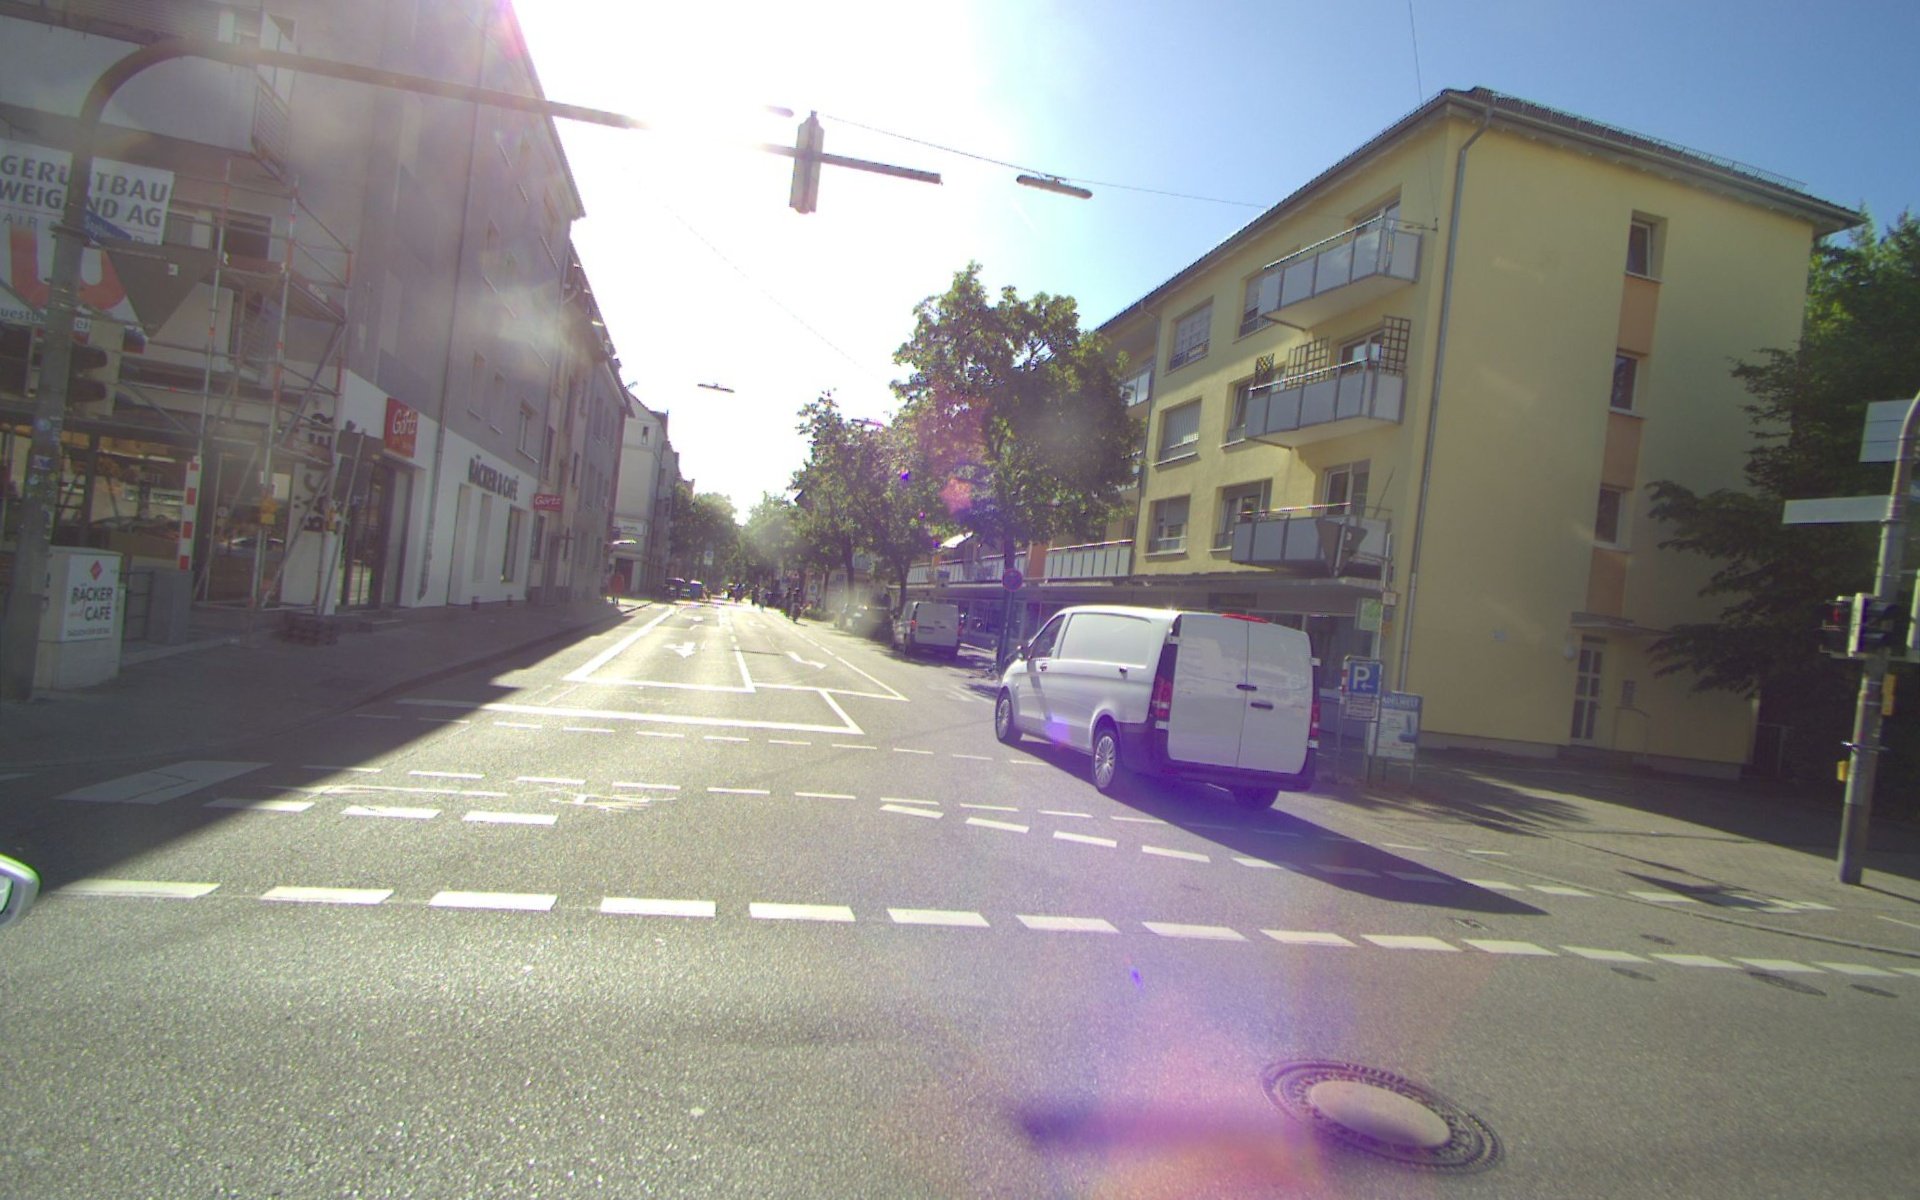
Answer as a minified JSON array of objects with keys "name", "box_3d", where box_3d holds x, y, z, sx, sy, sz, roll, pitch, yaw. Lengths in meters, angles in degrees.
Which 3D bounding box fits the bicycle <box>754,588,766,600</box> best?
[{"name":"bicycle","box_3d":[-18.774,-0.544,94.241,0.846,0.956,2.301,9,-1,-14]}]

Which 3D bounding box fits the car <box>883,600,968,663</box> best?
[{"name":"car","box_3d":[-1.318,1.070,36.121,2.020,1.869,4.573,7,-1,-13]}]

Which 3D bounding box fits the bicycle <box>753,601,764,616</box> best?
[{"name":"bicycle","box_3d":[-13.543,0.583,67.595,0.612,0.876,1.872,7,-1,-13]}]

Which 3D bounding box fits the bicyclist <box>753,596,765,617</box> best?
[{"name":"bicyclist","box_3d":[-13.503,0.432,67.548,0.581,1.399,0.821,6,0,-13]}]

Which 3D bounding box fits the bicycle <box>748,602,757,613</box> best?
[{"name":"bicycle","box_3d":[-18.132,0.622,87.854,0.682,0.876,1.872,7,-1,-13]}]

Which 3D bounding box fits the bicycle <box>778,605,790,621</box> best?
[{"name":"bicycle","box_3d":[-10.664,0.799,60.812,0.540,0.876,1.872,7,0,-13]}]

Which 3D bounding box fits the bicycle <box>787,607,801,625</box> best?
[{"name":"bicycle","box_3d":[-8.896,0.839,53.939,0.540,0.876,1.872,7,0,-13]}]

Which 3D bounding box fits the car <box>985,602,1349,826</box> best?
[{"name":"car","box_3d":[2.007,1.080,11.548,1.944,1.832,4.818,7,-1,-15]}]

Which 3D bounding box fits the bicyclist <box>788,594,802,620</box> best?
[{"name":"bicyclist","box_3d":[-8.830,0.373,53.847,0.540,1.277,0.801,6,0,-13]}]

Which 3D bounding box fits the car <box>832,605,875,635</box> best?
[{"name":"car","box_3d":[-5.696,1.035,53.615,1.691,1.330,3.372,7,-1,-14]}]

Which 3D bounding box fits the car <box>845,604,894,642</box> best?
[{"name":"car","box_3d":[-4.347,1.092,47.945,1.691,1.501,3.372,7,-1,-14]}]

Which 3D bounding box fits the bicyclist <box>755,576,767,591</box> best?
[{"name":"bicyclist","box_3d":[-18.646,-1.551,94.279,0.846,1.330,1.207,9,-1,-14]}]

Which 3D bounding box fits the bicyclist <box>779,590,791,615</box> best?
[{"name":"bicyclist","box_3d":[-10.596,0.145,60.822,0.540,1.399,0.821,6,0,-13]}]

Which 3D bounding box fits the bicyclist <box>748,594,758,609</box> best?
[{"name":"bicyclist","box_3d":[-18.067,0.097,87.812,0.683,1.208,0.593,7,0,-13]}]

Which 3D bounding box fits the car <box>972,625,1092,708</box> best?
[{"name":"car","box_3d":[1.586,1.479,23.359,1.691,1.501,3.372,7,-1,-14]}]

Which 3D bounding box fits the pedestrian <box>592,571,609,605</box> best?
[{"name":"pedestrian","box_3d":[-16.760,-0.565,46.872,0.570,1.485,0.699,6,0,-19]}]

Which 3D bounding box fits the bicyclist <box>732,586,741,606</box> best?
[{"name":"bicyclist","box_3d":[-19.858,-0.351,89.369,0.624,1.689,1.047,6,0,-14]}]

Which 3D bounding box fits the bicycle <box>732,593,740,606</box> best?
[{"name":"bicycle","box_3d":[-19.981,-0.056,89.731,0.624,1.054,1.790,6,0,-14]}]

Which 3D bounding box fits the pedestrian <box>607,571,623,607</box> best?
[{"name":"pedestrian","box_3d":[-16.003,-0.510,46.666,0.570,1.602,0.705,6,0,-19]}]
